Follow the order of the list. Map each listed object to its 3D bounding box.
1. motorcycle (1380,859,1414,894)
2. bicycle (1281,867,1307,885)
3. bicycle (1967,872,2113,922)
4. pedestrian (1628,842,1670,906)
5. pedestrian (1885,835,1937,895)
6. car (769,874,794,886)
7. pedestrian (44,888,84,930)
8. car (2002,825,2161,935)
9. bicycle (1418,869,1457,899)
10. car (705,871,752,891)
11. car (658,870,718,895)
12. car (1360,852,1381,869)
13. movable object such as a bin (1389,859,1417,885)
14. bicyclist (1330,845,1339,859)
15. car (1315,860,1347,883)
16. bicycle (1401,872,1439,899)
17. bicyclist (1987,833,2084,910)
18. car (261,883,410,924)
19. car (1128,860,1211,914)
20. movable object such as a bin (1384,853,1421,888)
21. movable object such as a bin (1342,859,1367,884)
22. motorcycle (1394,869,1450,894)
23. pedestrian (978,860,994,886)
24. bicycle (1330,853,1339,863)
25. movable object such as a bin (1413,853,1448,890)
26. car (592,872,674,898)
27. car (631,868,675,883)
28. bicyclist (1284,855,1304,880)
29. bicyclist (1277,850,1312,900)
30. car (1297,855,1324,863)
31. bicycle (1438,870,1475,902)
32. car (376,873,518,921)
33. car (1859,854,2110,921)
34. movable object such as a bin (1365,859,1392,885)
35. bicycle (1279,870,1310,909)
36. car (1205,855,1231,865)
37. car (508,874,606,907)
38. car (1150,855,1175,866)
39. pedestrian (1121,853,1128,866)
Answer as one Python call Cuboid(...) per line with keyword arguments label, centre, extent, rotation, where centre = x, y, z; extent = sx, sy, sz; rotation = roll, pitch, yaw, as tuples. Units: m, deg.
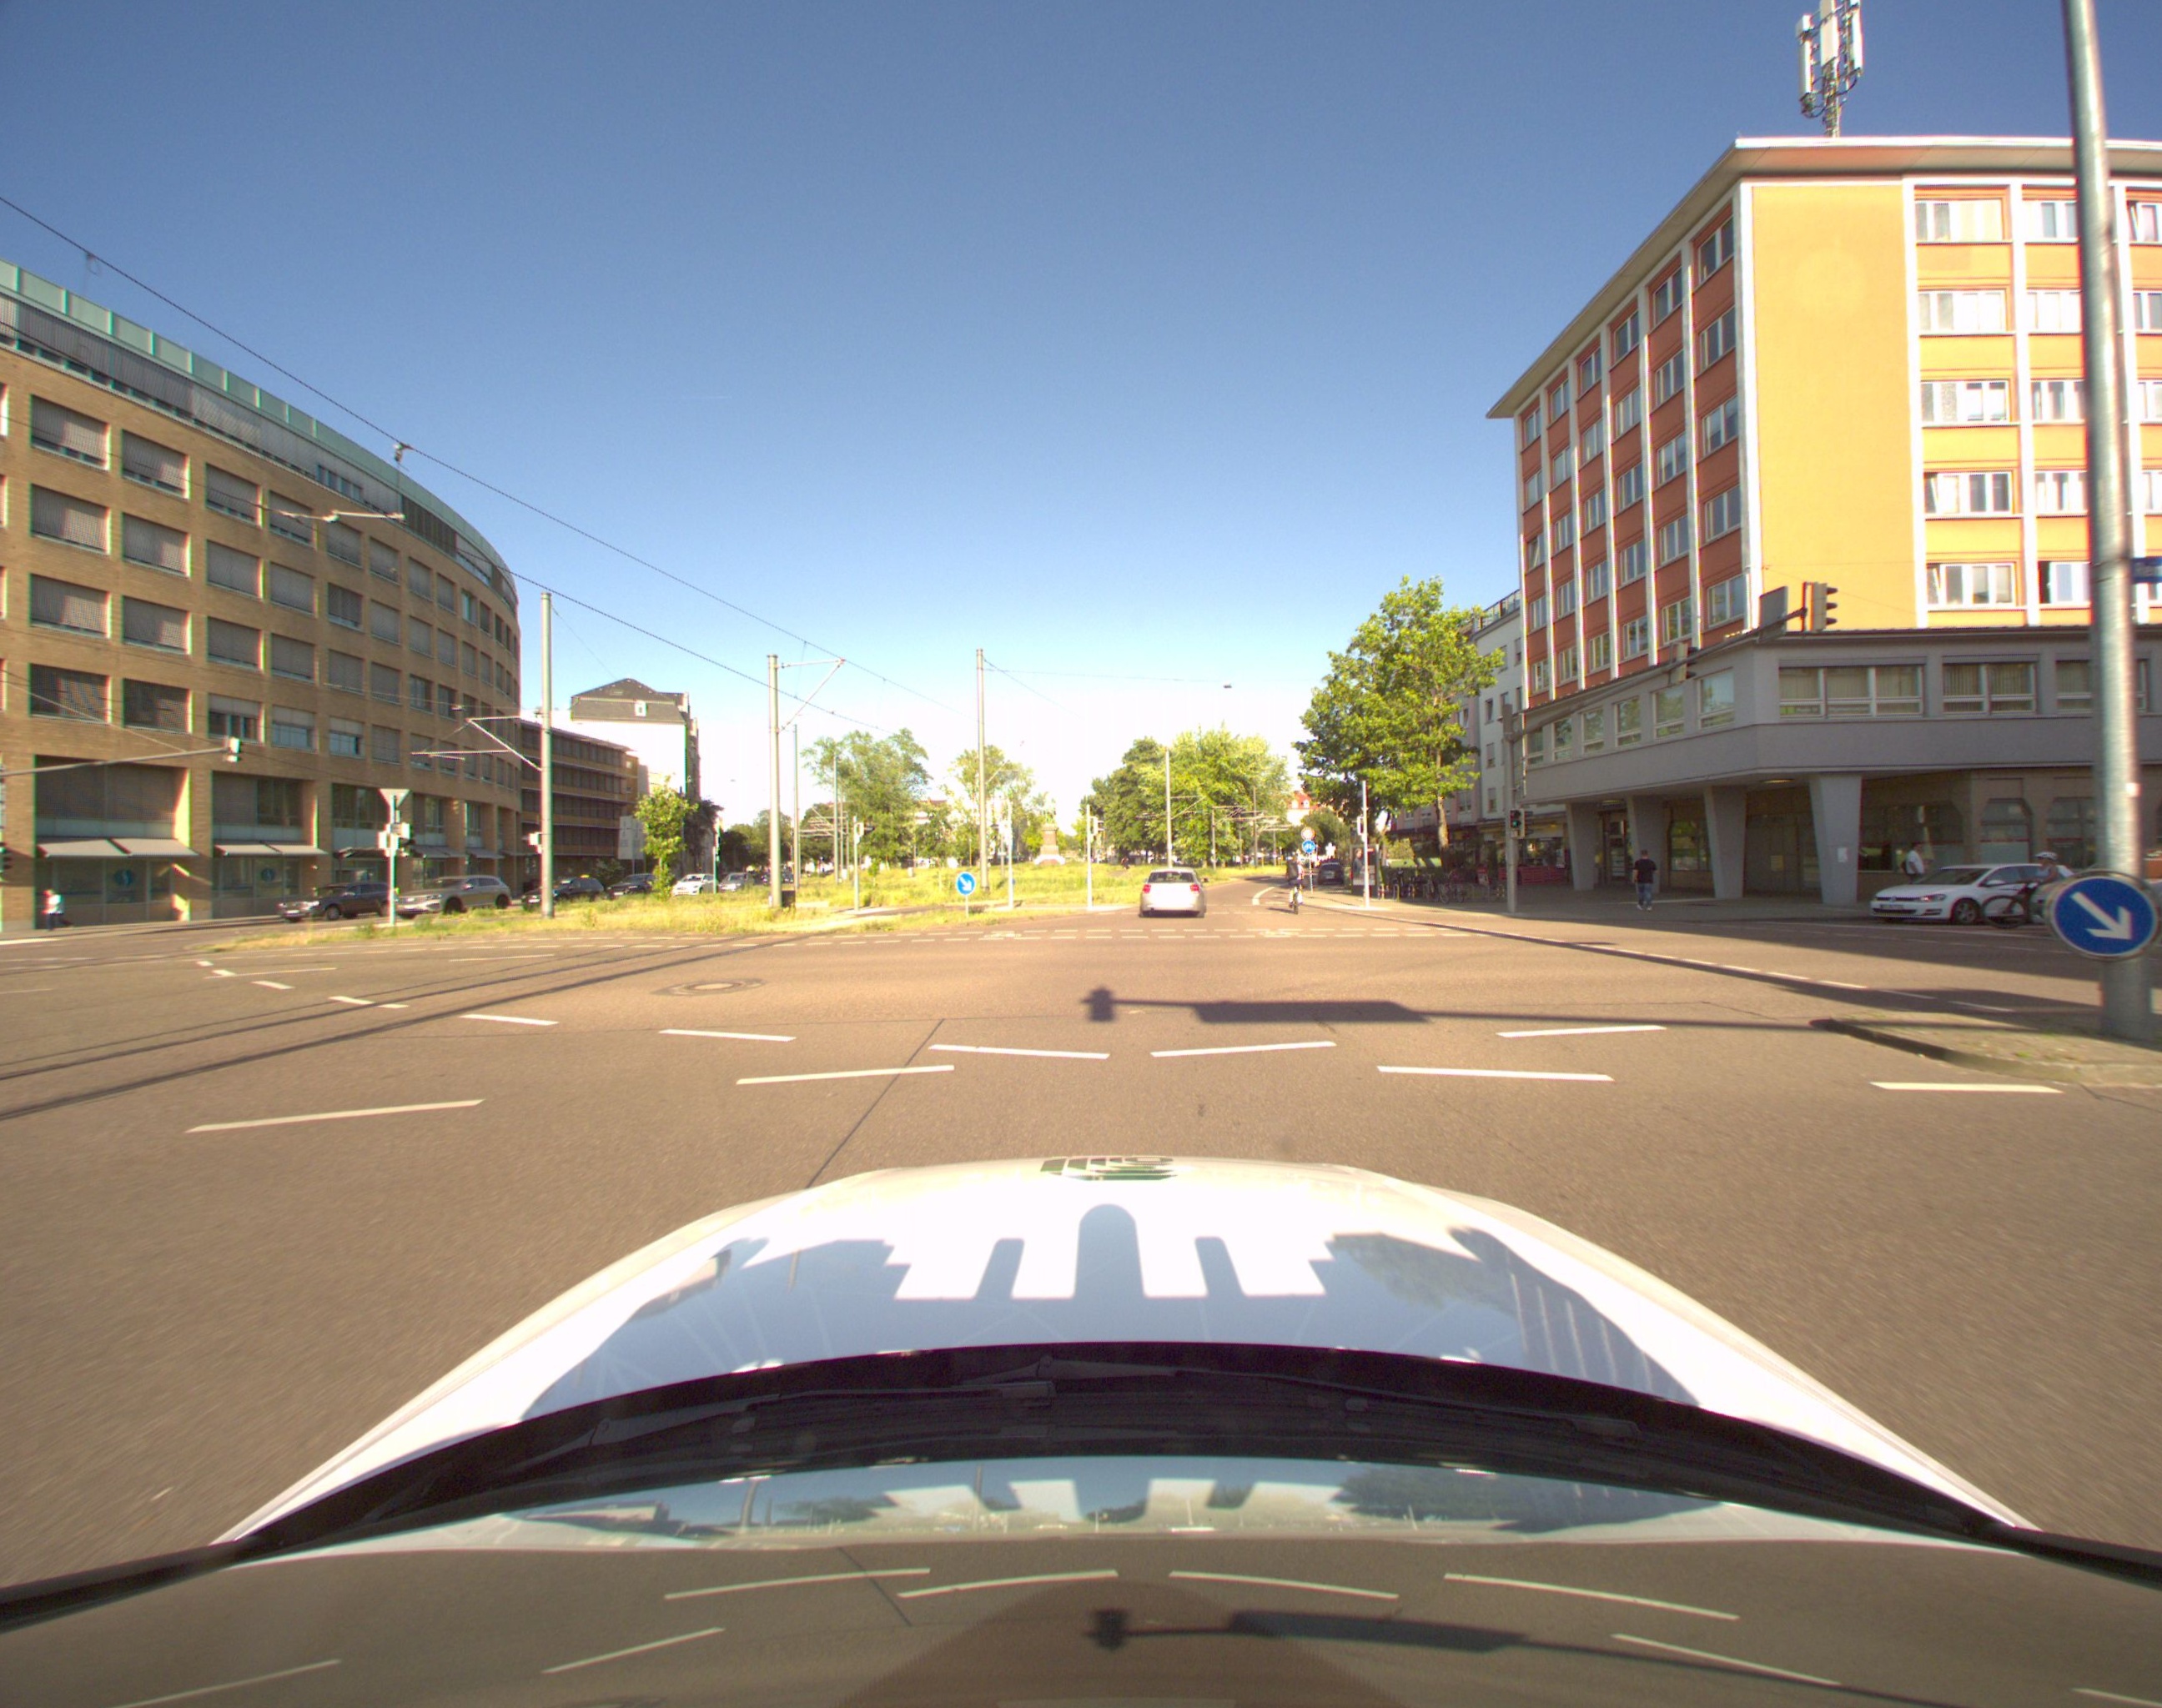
Cuboid(label="motorcycle", centre=(14.229, 0.985, 36.715), extent=(0.798, 1.539, 2.549), rotation=(0, 0, 6))
Cuboid(label="bicycle", centre=(14.141, 1.440, 54.053), extent=(1.975, 1.185, 0.812), rotation=(2, -2, -45))
Cuboid(label="bicycle", centre=(20.048, 0.881, 17.050), extent=(2.136, 1.001, 0.860), rotation=(1, -1, -3))
Cuboid(label="pedestrian", centre=(16.881, 0.593, 24.226), extent=(0.819, 1.844, 0.896), rotation=(0, -1, 21))
Cuboid(label="pedestrian", centre=(25.345, 0.347, 24.861), extent=(0.859, 1.779, 0.892), rotation=(1, -2, -28))
Cuboid(label="car", centre=(-39.497, 3.429, 107.405), extent=(1.990, 1.513, 4.273), rotation=(0, -4, -5))
Cuboid(label="pedestrian", centre=(-38.762, 2.080, 31.046), extent=(0.594, 1.532, 0.714), rotation=(0, -1, 8))
Cuboid(label="car", centre=(20.018, 0.479, 14.750), extent=(4.574, 1.850, 1.946), rotation=(1, -1, -1))
Cuboid(label="bicycle", centre=(13.805, 1.158, 31.573), extent=(0.474, 1.117, 2.117), rotation=(1, -1, -4))
Cuboid(label="car", centre=(-27.050, 2.050, 62.655), extent=(1.990, 1.427, 4.502), rotation=(1, -1, -5))
Cuboid(label="car", centre=(-26.927, 1.929, 55.957), extent=(1.988, 1.596, 4.652), rotation=(1, -1, -2))
Cuboid(label="car", centre=(33.845, 0.773, 95.143), extent=(1.976, 1.813, 4.332), rotation=(0, -1, 23))
Cuboid(label="movable object such as a bin", centre=(17.672, 0.972, 44.692), extent=(1.208, 1.391, 0.959), rotation=(1, -1, 1))
Cuboid(label="bicyclist", centre=(26.254, -0.182, 84.318), extent=(0.779, 1.453, 1.101), rotation=(0, -1, 22))
Cuboid(label="car", centre=(17.124, 1.152, 55.639), extent=(1.750, 1.438, 4.607), rotation=(-2, -1, 21))
Cuboid(label="bicycle", centre=(13.098, 1.207, 31.557), extent=(0.474, 0.984, 2.117), rotation=(1, -1, -4))
Cuboid(label="bicyclist", centre=(19.960, 0.367, 17.052), extent=(0.930, 1.560, 0.940), rotation=(1, -1, -3))
Cuboid(label="car", centre=(-34.358, 2.224, 37.801), extent=(2.111, 1.668, 5.208), rotation=(1, -1, -1))
Cuboid(label="car", centre=(2.676, 0.913, 23.735), extent=(1.980, 1.423, 4.210), rotation=(0, -1, 12))
Cuboid(label="movable object such as a bin", centre=(15.418, 0.784, 39.097), extent=(1.376, 1.640, 1.007), rotation=(0, -1, -2))
Cuboid(label="movable object such as a bin", centre=(15.068, 0.963, 44.874), extent=(1.270, 1.391, 0.926), rotation=(0, -1, 17))
Cuboid(label="motorcycle", centre=(14.523, 1.161, 34.695), extent=(2.089, 1.022, 0.762), rotation=(0, -1, 0))
Cuboid(label="pedestrian", centre=(-6.282, 1.253, 53.756), extent=(0.727, 1.671, 0.749), rotation=(-1, -1, 24))
Cuboid(label="bicycle", centre=(26.274, 0.394, 84.359), extent=(0.647, 0.958, 2.712), rotation=(0, -1, 22))
Cuboid(label="movable object such as a bin", centre=(16.746, 0.847, 39.041), extent=(1.252, 1.709, 0.944), rotation=(-1, -2, -2))
Cuboid(label="car", centre=(-26.825, 1.802, 48.962), extent=(1.986, 1.447, 5.021), rotation=(1, -1, 2))
Cuboid(label="car", centre=(-45.462, 2.306, 86.478), extent=(4.012, 1.581, 1.981), rotation=(1, -1, -31))
Cuboid(label="bicyclist", centre=(14.097, 0.881, 54.001), extent=(0.940, 1.633, 0.930), rotation=(2, -2, -44))
Cuboid(label="bicyclist", centre=(6.580, 0.637, 25.070), extent=(1.030, 1.484, 0.992), rotation=(0, -1, 16))
Cuboid(label="car", centre=(50.519, 1.086, 179.154), extent=(5.252, 1.800, 2.161), rotation=(1, -1, -3))
Cuboid(label="bicycle", centre=(14.769, 1.240, 32.081), extent=(0.530, 1.244, 1.846), rotation=(1, -1, -2))
Cuboid(label="car", centre=(-26.211, 1.736, 33.963), extent=(2.094, 1.734, 5.081), rotation=(-1, 0, -2))
Cuboid(label="car", centre=(21.652, 0.819, 19.635), extent=(4.140, 1.503, 1.843), rotation=(1, -3, -3))
Cuboid(label="movable object such as a bin", centre=(16.273, 0.989, 44.612), extent=(1.168, 1.356, 0.927), rotation=(1, -1, 1))
Cuboid(label="bicycle", centre=(6.595, 1.068, 25.085), extent=(0.879, 1.136, 2.238), rotation=(0, -1, 16))
Cuboid(label="car", centre=(30.884, 1.374, 183.179), extent=(5.563, 2.014, 1.815), rotation=(1, -1, -3))
Cuboid(label="car", centre=(-26.312, 1.804, 41.135), extent=(1.988, 1.517, 4.658), rotation=(1, -1, -2))
Cuboid(label="car", centre=(17.792, 1.357, 177.967), extent=(5.318, 2.314, 2.000), rotation=(1, -1, 0))
Cuboid(label="pedestrian", centre=(5.368, 0.722, 100.797), extent=(0.677, 1.616, 0.550), rotation=(1, -2, -29))
